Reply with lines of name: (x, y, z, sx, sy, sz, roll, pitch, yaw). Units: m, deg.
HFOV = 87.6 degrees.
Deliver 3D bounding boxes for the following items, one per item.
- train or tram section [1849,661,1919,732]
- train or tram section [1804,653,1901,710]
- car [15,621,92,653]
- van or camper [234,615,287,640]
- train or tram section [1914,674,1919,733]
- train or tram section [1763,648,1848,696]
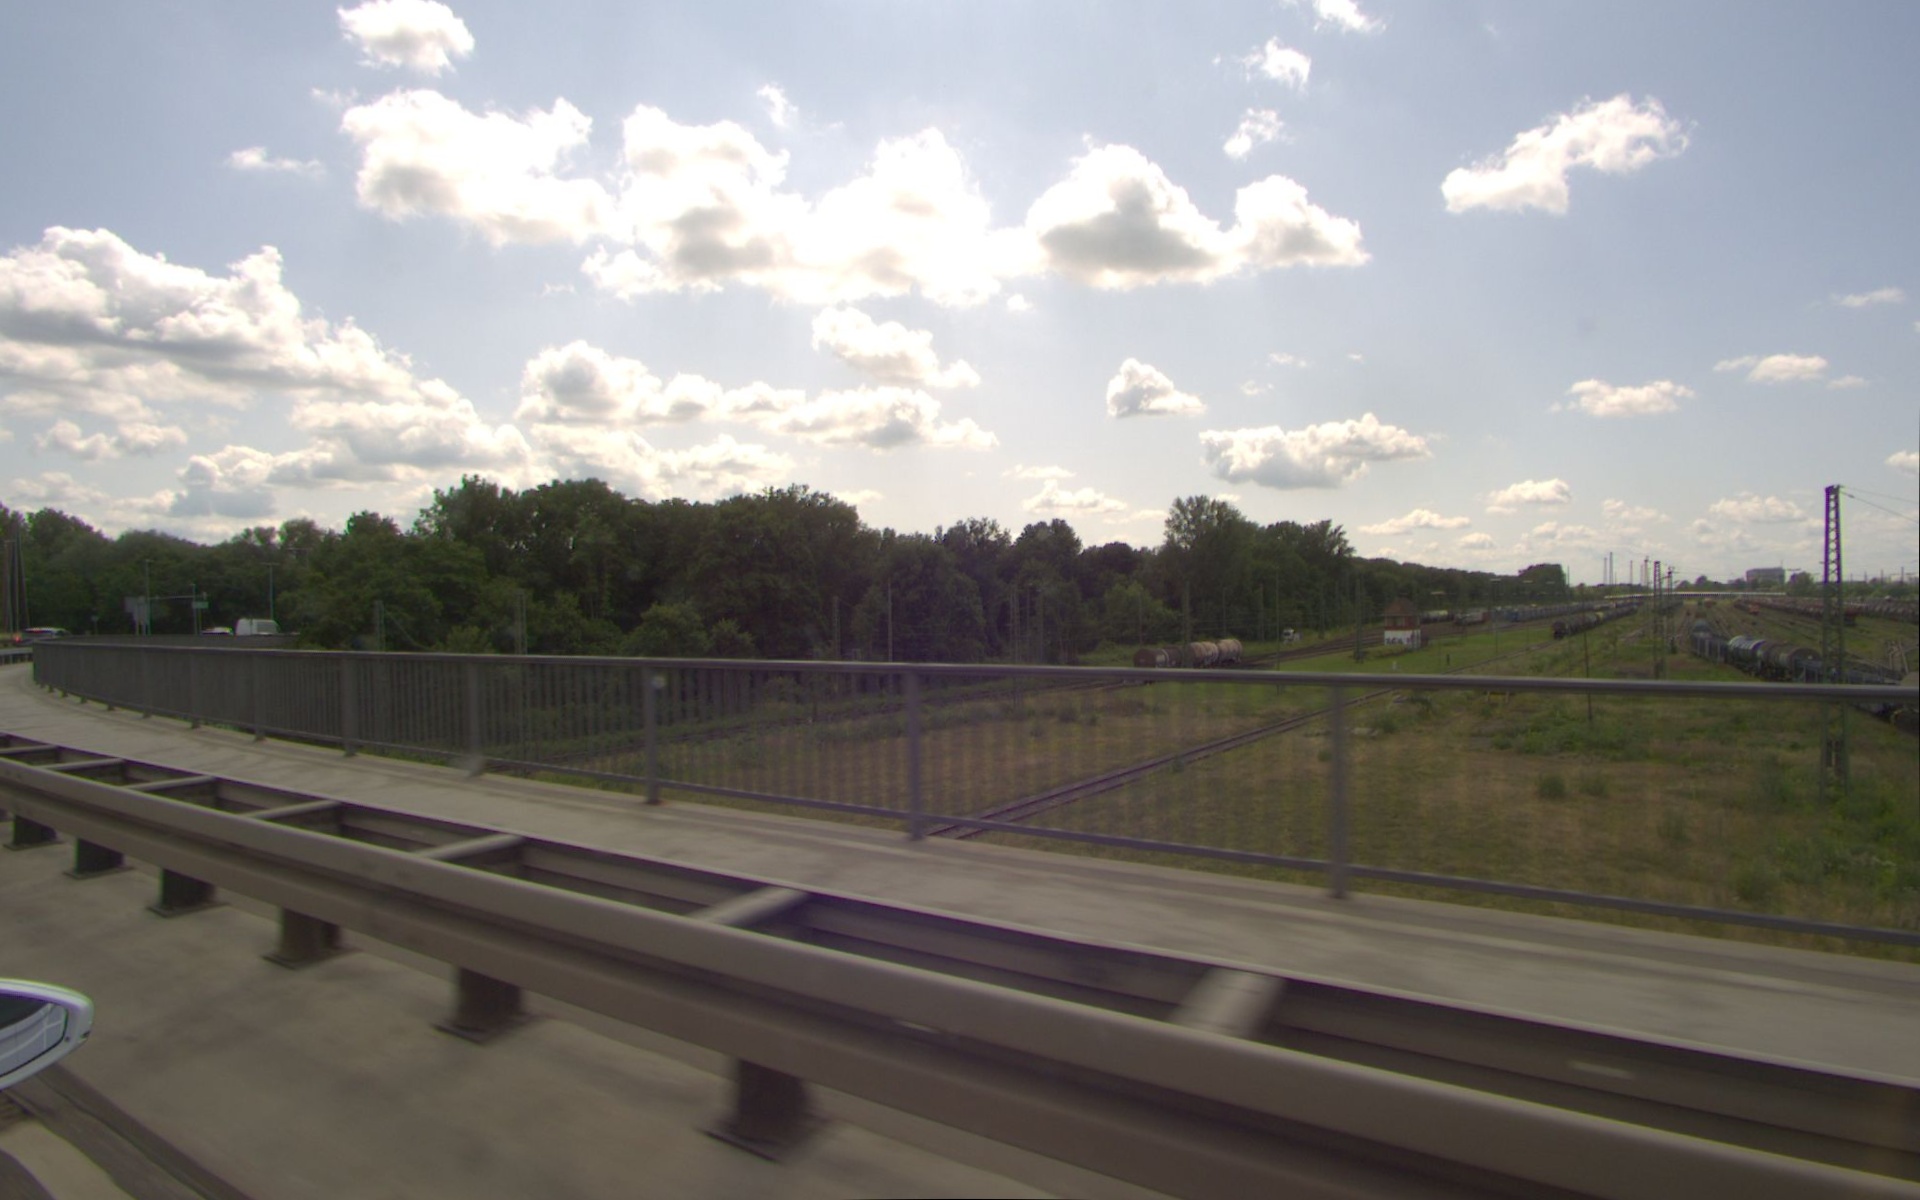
train or tram section: (74.539, 7.321, 78.785, 3.167, 4.204, 17.614, -4, -2, 30)
train or tram section: (82.877, 7.438, 93.398, 3.166, 4.204, 15.896, -4, -2, 29)
car: (-50.515, 2.060, 55.882, 1.796, 1.672, 3.847, 2, -2, -20)
van or camper: (-68.575, 2.709, 98.304, 2.237, 2.370, 5.239, 2, -2, -10)
train or tram section: (64.858, 7.270, 63.857, 3.172, 4.204, 17.583, -4, -2, 36)
train or tram section: (90.375, 7.552, 107.469, 3.164, 4.204, 15.907, -4, -2, 27)
